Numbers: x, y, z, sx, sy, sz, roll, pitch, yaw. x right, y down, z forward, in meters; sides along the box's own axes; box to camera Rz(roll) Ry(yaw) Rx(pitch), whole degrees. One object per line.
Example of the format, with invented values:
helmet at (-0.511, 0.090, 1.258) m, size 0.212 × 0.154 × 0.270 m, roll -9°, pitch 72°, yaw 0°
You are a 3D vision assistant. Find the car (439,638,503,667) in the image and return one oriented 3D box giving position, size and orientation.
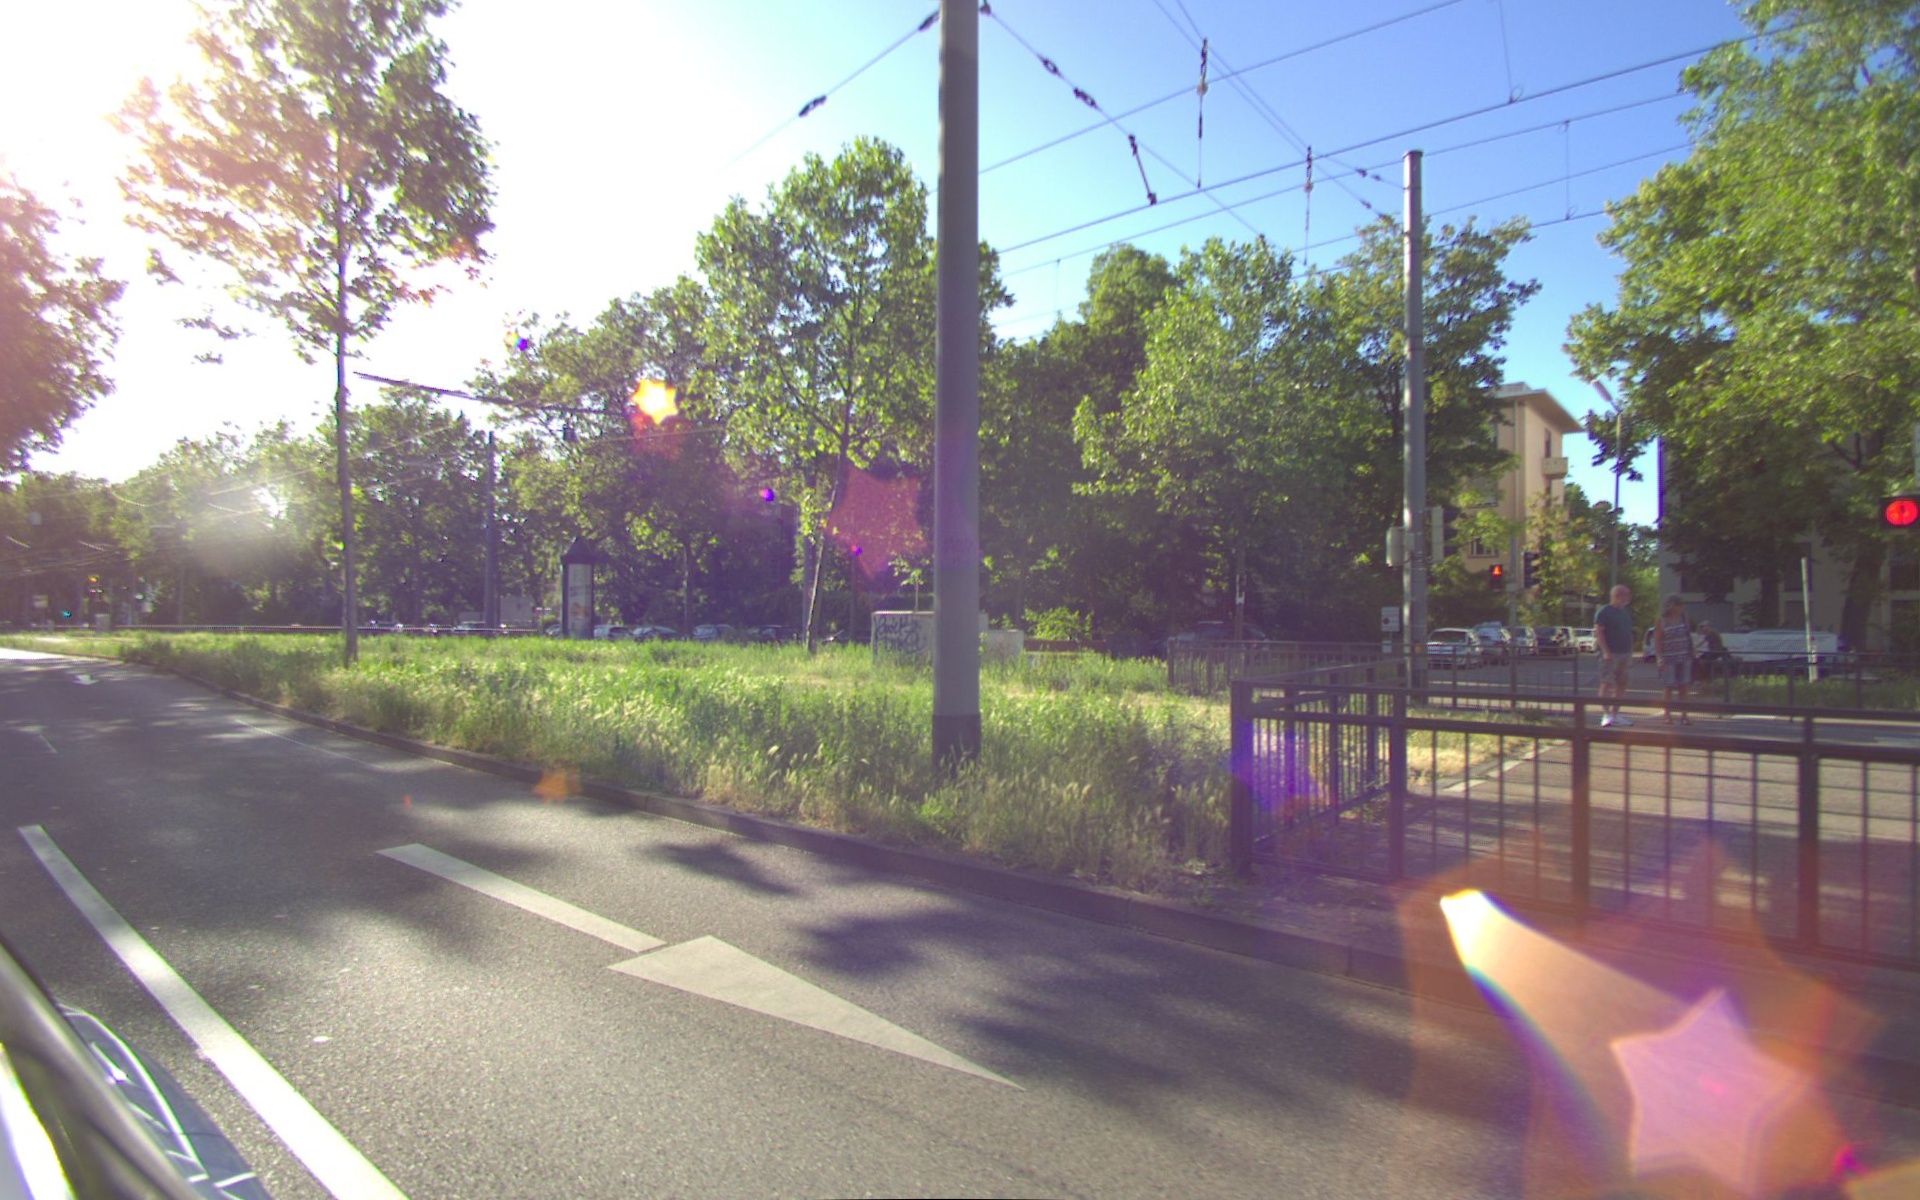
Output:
car at (-32.037, 3.454, 66.239) m, size 4.507 × 1.696 × 1.975 m, roll -3°, pitch -1°, yaw 38°

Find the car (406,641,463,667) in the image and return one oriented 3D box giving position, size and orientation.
car at (-36.271, 3.722, 69.877) m, size 3.994 × 1.634 × 1.975 m, roll -3°, pitch -1°, yaw 38°

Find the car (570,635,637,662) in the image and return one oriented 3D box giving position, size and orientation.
car at (-19.337, 2.651, 54.900) m, size 3.777 × 1.322 × 1.751 m, roll -3°, pitch -1°, yaw 40°

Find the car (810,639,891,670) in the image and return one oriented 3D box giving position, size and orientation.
car at (-4.608, 2.259, 42.369) m, size 3.355 × 1.238 × 1.393 m, roll -2°, pitch -2°, yaw 39°

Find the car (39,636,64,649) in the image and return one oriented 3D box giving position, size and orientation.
car at (-126.310, 5.867, 140.746) m, size 4.593 × 1.632 × 1.867 m, roll -3°, pitch -1°, yaw 39°

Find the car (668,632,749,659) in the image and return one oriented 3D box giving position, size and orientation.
car at (-12.204, 2.202, 48.978) m, size 3.996 × 1.187 × 1.774 m, roll -2°, pitch -1°, yaw 40°

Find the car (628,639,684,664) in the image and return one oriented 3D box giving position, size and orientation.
car at (-15.450, 2.611, 51.450) m, size 2.842 × 1.209 × 1.386 m, roll -2°, pitch -2°, yaw 39°
